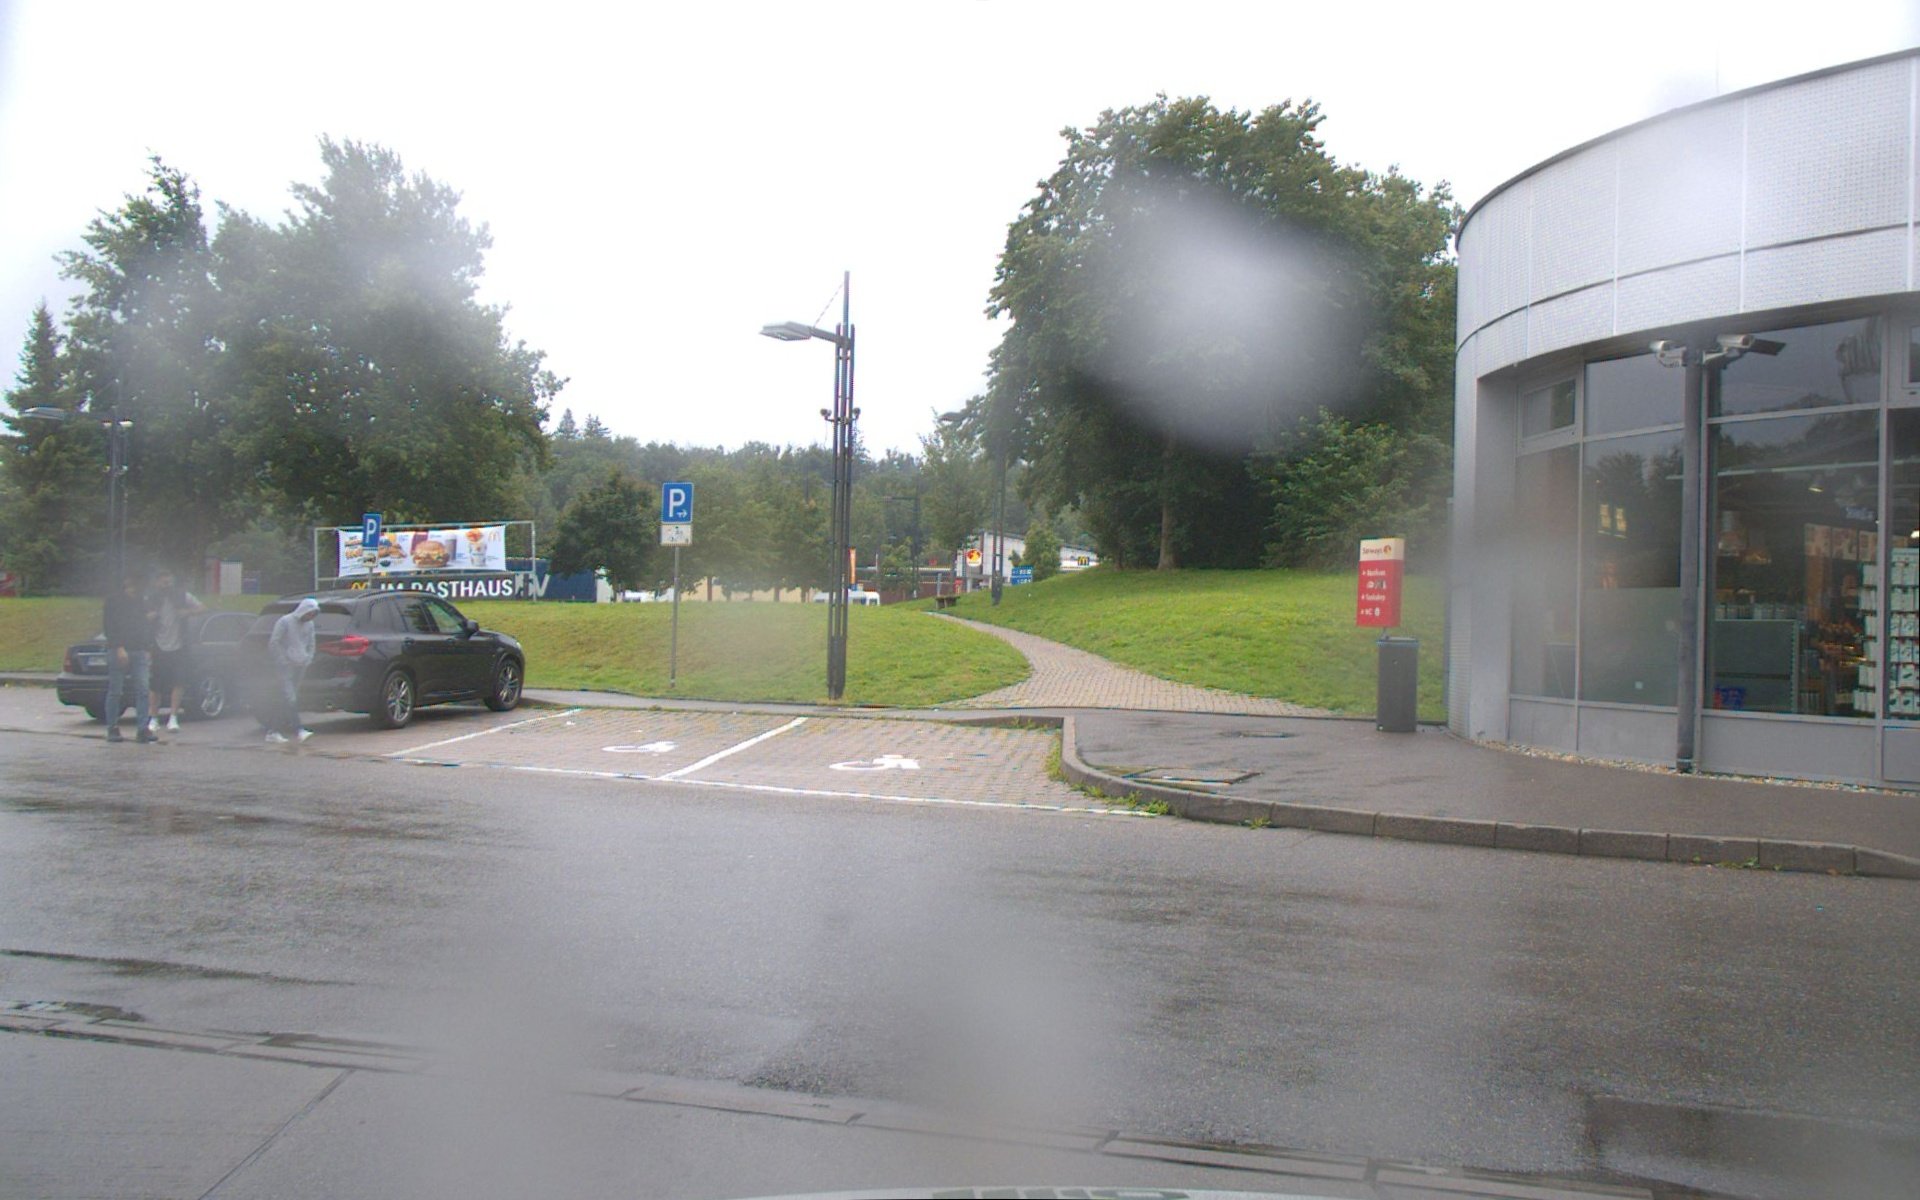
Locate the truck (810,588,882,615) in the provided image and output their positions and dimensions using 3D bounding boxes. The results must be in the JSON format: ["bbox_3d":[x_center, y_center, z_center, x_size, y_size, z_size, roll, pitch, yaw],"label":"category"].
[{"bbox_3d":[-9.239,0.141,133.663,5.298,2.049,2.366,1,0,24],"label":"truck"}]

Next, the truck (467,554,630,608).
[{"bbox_3d":[-24.934,-1.083,101.264,2.142,2.971,13.093,1,0,23],"label":"truck"}]

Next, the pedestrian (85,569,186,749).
[{"bbox_3d":[-9.085,0.628,18.220,0.878,1.920,0.700,0,-1,42],"label":"pedestrian"}]

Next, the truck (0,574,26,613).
[{"bbox_3d":[-80.150,-0.572,138.532,2.443,3.139,7.305,1,0,-23],"label":"truck"}]

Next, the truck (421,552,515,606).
[{"bbox_3d":[-27.984,-1.166,94.249,2.142,2.971,5.384,1,0,24],"label":"truck"}]

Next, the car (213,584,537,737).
[{"bbox_3d":[-7.366,0.694,21.367,1.973,1.741,4.347,-1,1,11],"label":"car"}]

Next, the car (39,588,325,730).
[{"bbox_3d":[-10.573,0.721,22.885,1.976,1.741,4.342,-1,1,-2],"label":"car"}]

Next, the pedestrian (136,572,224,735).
[{"bbox_3d":[-9.427,0.641,20.022,0.689,1.920,0.952,1,-1,-10],"label":"pedestrian"}]

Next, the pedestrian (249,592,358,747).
[{"bbox_3d":[-7.275,0.751,18.323,0.935,1.660,0.701,1,-1,35],"label":"pedestrian"}]
